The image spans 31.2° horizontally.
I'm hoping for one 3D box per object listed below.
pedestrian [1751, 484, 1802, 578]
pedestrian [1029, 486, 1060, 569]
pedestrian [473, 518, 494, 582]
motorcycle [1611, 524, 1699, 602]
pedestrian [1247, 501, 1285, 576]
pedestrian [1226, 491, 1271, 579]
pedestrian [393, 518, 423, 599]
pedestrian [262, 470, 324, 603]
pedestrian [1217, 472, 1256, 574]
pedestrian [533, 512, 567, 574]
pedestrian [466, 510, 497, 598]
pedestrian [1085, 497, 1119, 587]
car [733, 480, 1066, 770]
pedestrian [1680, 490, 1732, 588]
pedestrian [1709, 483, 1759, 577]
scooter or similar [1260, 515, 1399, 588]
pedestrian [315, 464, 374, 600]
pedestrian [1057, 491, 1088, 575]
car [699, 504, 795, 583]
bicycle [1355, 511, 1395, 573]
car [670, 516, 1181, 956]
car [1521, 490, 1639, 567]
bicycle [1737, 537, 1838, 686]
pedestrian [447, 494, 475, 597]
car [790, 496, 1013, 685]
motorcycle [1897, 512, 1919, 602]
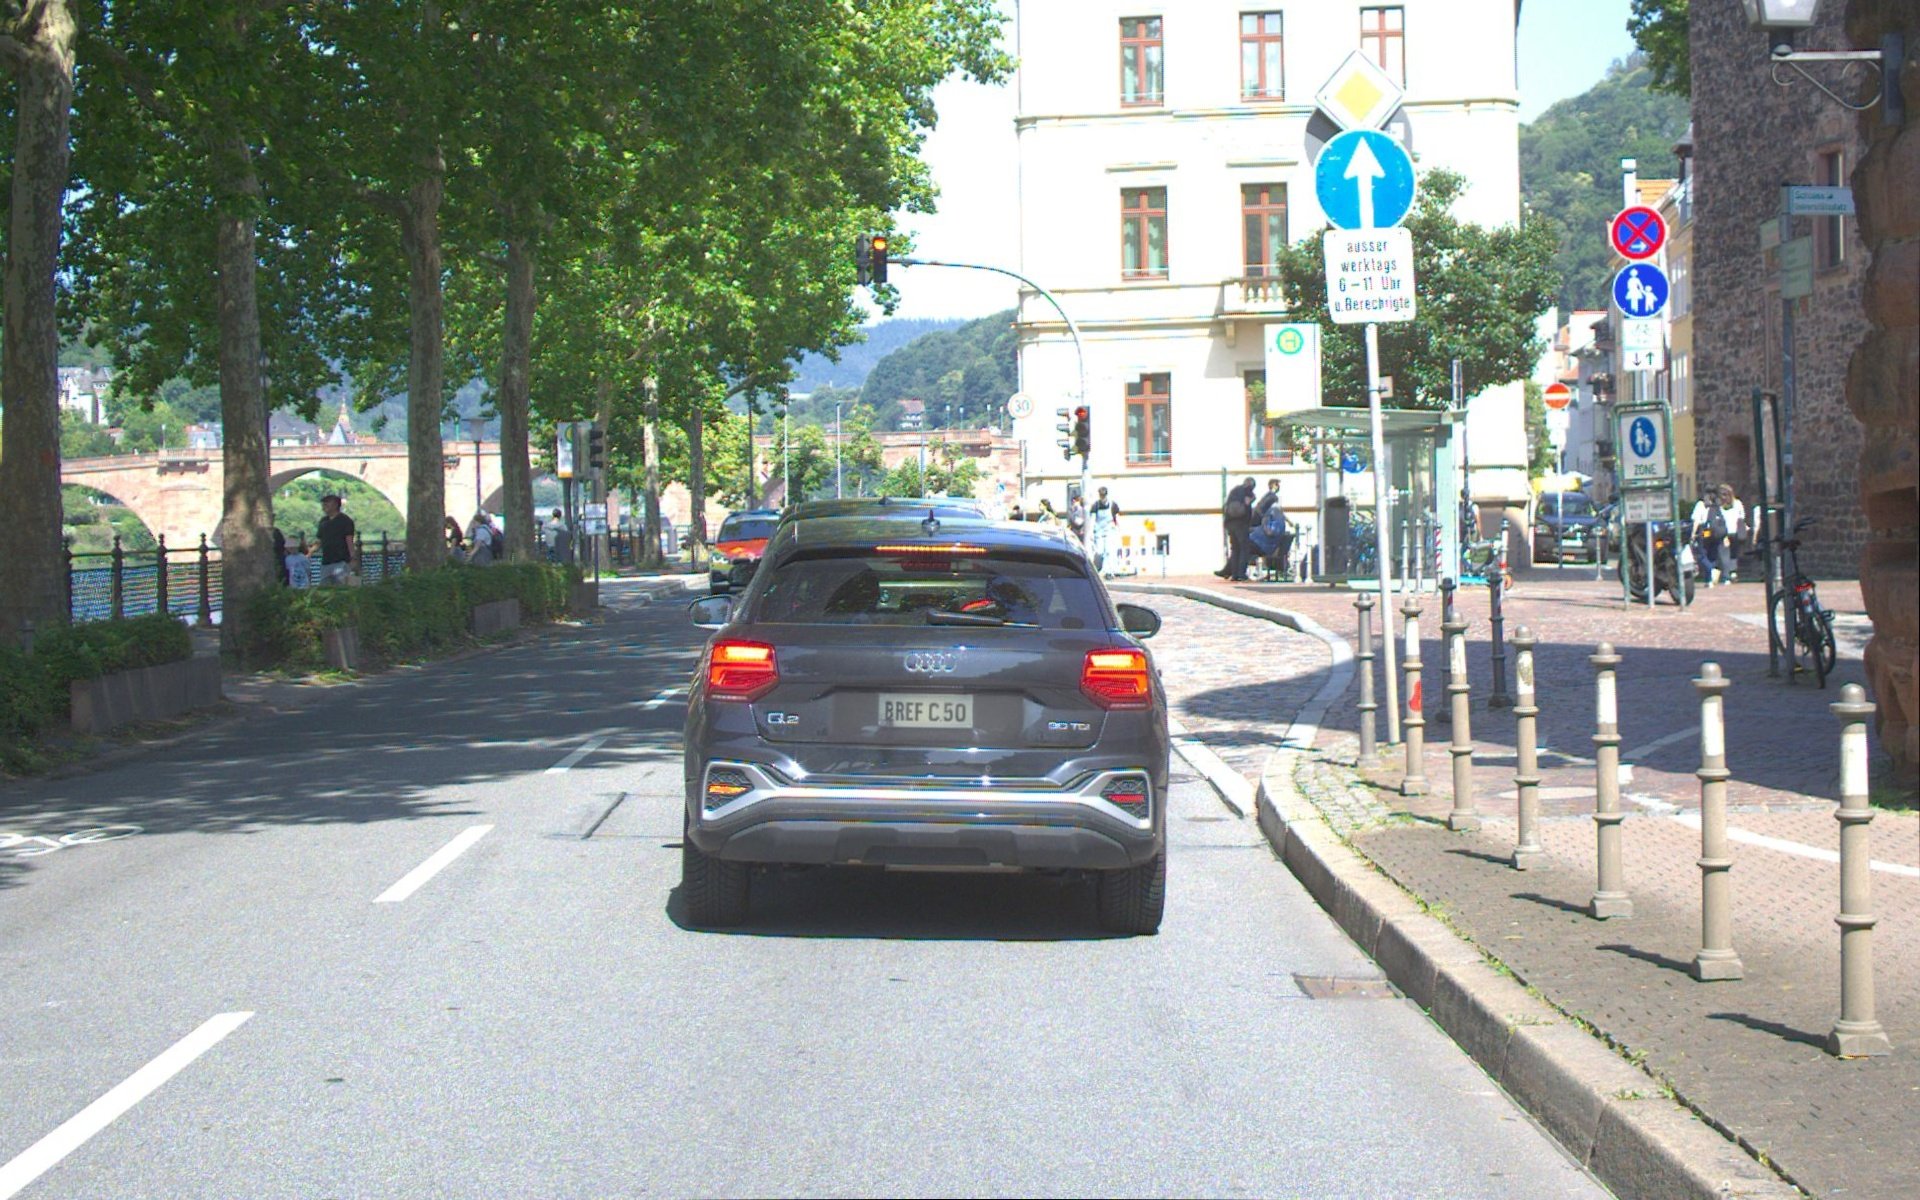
[{"bbox_3d":[13.404,-1.133,56.420,0.658,1.512,0.627,1,1,1],"label":"pedestrian"},{"bbox_3d":[1.594,-1.374,64.819,0.557,1.552,0.660,1,1,1],"label":"pedestrian"},{"bbox_3d":[-10.638,-1.125,76.830,0.409,1.420,0.457,1,1,-4],"label":"pedestrian"},{"bbox_3d":[7.647,-0.421,37.875,0.483,0.815,2.280,-2,2,0],"label":"motorcycle"},{"bbox_3d":[4.977,-1.005,55.874,0.546,1.197,0.522,1,1,1],"label":"pedestrian"},{"bbox_3d":[5.193,-1.168,61.816,0.747,1.552,0.588,1,1,1],"label":"pedestrian"},{"bbox_3d":[-10.583,-0.800,65.924,0.497,1.532,0.680,-2,1,-7],"label":"pedestrian"},{"bbox_3d":[-8.737,-0.829,45.045,0.645,1.711,0.665,-2,1,-3],"label":"pedestrian"},{"bbox_3d":[4.428,-1.232,55.020,0.557,1.627,0.660,1,1,1],"label":"pedestrian"},{"bbox_3d":[-8.612,-1.197,72.210,0.591,1.274,0.525,-2,1,0],"label":"pedestrian"},{"bbox_3d":[-9.022,-0.872,64.795,0.517,1.632,0.439,-2,1,-7],"label":"pedestrian"},{"bbox_3d":[2.468,-1.006,59.709,0.557,1.552,0.660,1,1,1],"label":"pedestrian"},{"bbox_3d":[-0.339,0.090,20.990,1.801,1.557,3.716,-2,2,0],"label":"car"},{"bbox_3d":[11.543,-0.940,53.174,0.658,1.488,0.548,1,1,1],"label":"pedestrian"},{"bbox_3d":[12.709,-1.149,56.460,0.658,1.512,0.548,1,1,1],"label":"pedestrian"},{"bbox_3d":[5.096,-0.669,47.407,1.845,0.960,0.429,1,1,-1],"label":"scooter or similar"},{"bbox_3d":[-8.071,-0.893,45.100,0.563,1.735,0.665,-4,1,-3],"label":"pedestrian"},{"bbox_3d":[2.101,-1.260,64.213,0.557,1.552,0.660,1,1,1],"label":"pedestrian"},{"bbox_3d":[-4.337,-1.170,70.277,1.615,1.517,3.476,-2,2,1],"label":"car"},{"bbox_3d":[6.643,-0.928,55.109,0.450,0.971,1.400,1,1,0],"label":"bicycle"},{"bbox_3d":[-0.165,0.430,13.727,1.748,1.489,3.629,1,2,-1],"label":"car"},{"bbox_3d":[14.430,-1.660,80.225,1.993,1.710,4.000,1,1,0],"label":"car"},{"bbox_3d":[5.931,0.061,24.709,0.496,1.027,2.050,0,1,8],"label":"bicycle"},{"bbox_3d":[-9.588,-1.047,66.070,0.499,1.952,0.439,1,1,-7],"label":"pedestrian"},{"bbox_3d":[-0.481,-0.128,30.192,1.801,1.517,3.716,-2,2,0],"label":"car"},{"bbox_3d":[10.542,-0.462,37.161,0.435,0.970,1.359,1,1,0],"label":"motorcycle"}]
